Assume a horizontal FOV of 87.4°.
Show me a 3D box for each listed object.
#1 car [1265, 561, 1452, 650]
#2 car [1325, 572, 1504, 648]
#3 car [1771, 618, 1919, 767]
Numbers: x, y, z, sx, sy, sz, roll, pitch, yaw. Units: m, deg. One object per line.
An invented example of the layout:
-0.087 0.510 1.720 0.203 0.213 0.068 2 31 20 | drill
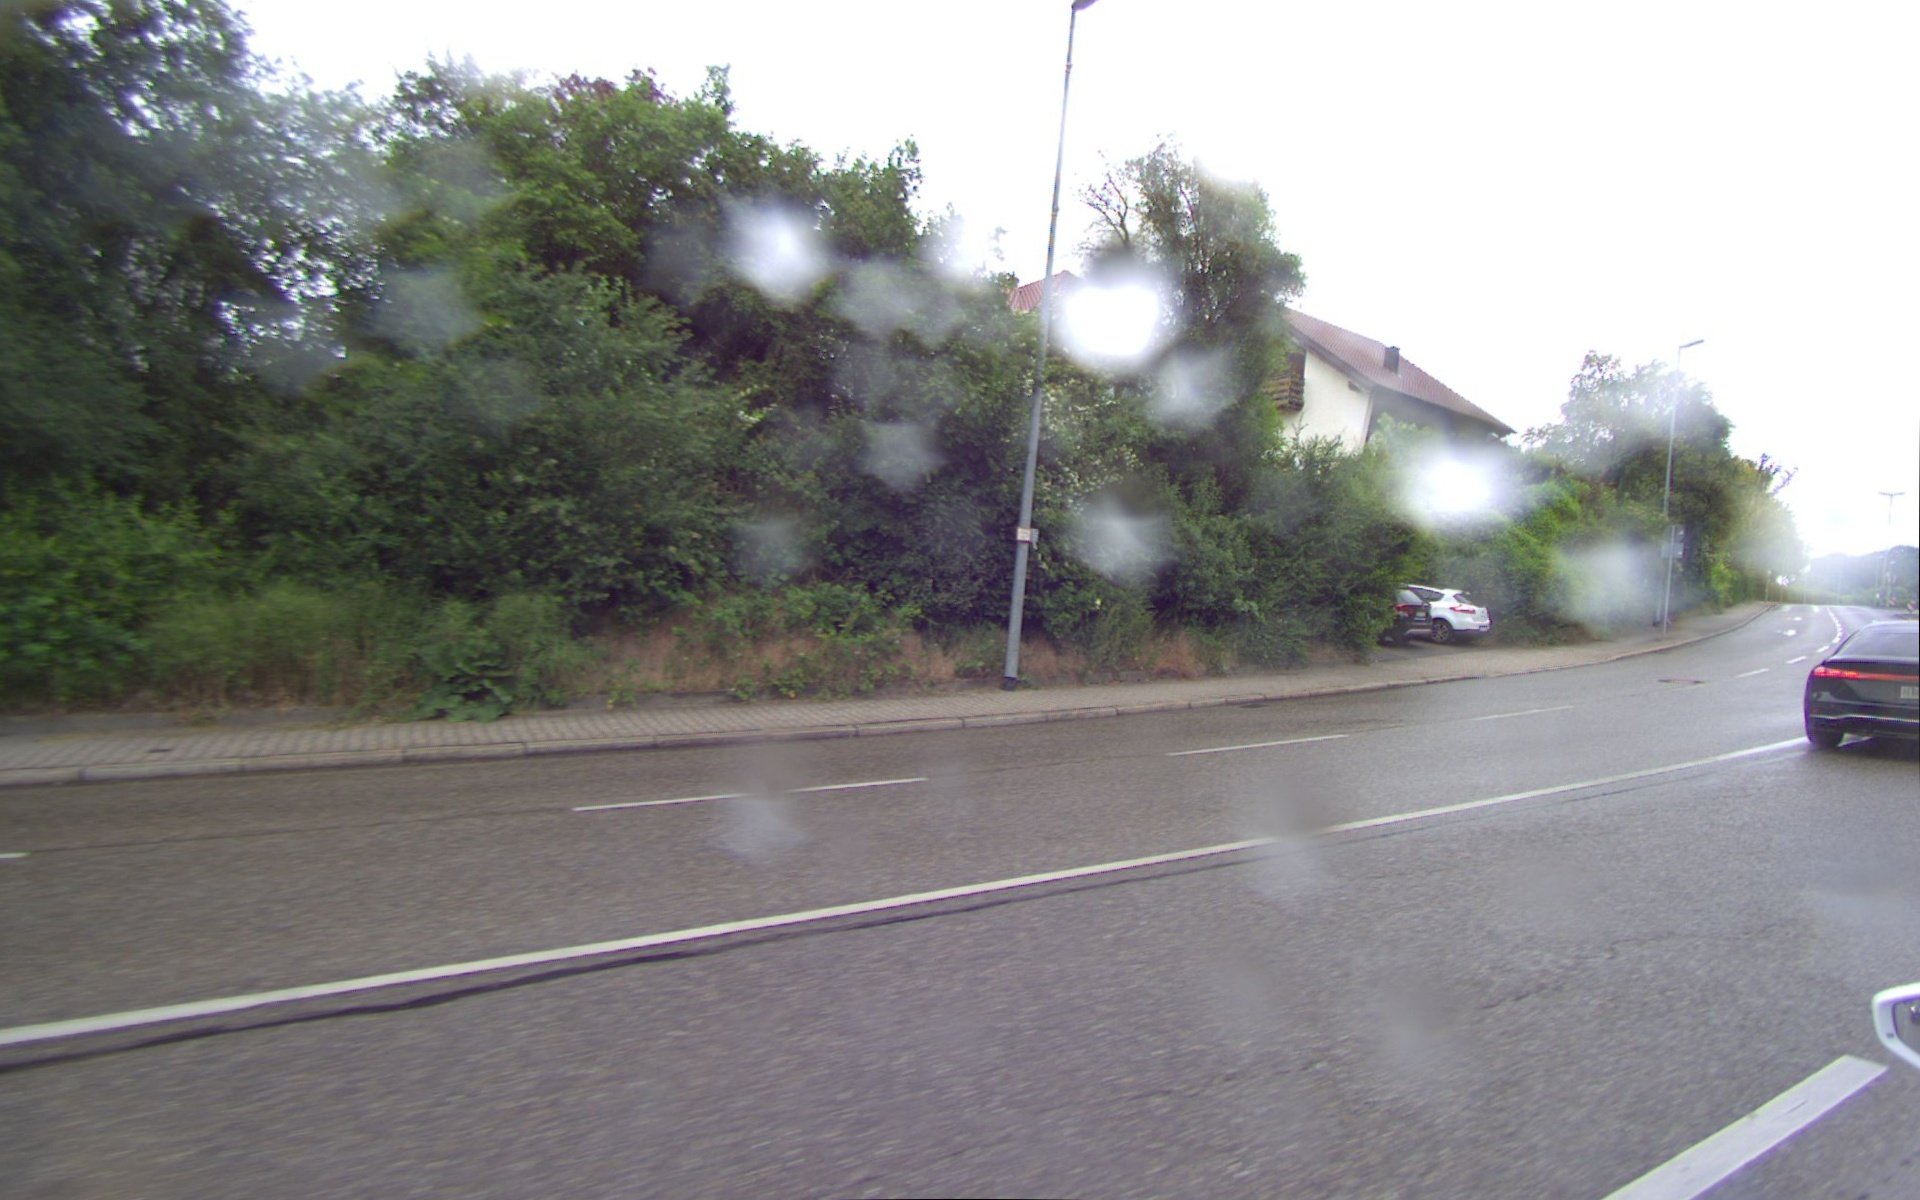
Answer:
10.247 0.085 26.055 1.840 1.701 3.953 1 7 -40 | car
12.377 0.213 27.523 1.843 1.467 3.948 1 8 -44 | car
11.410 0.961 11.670 4.809 1.417 1.892 0 1 -36 | car
